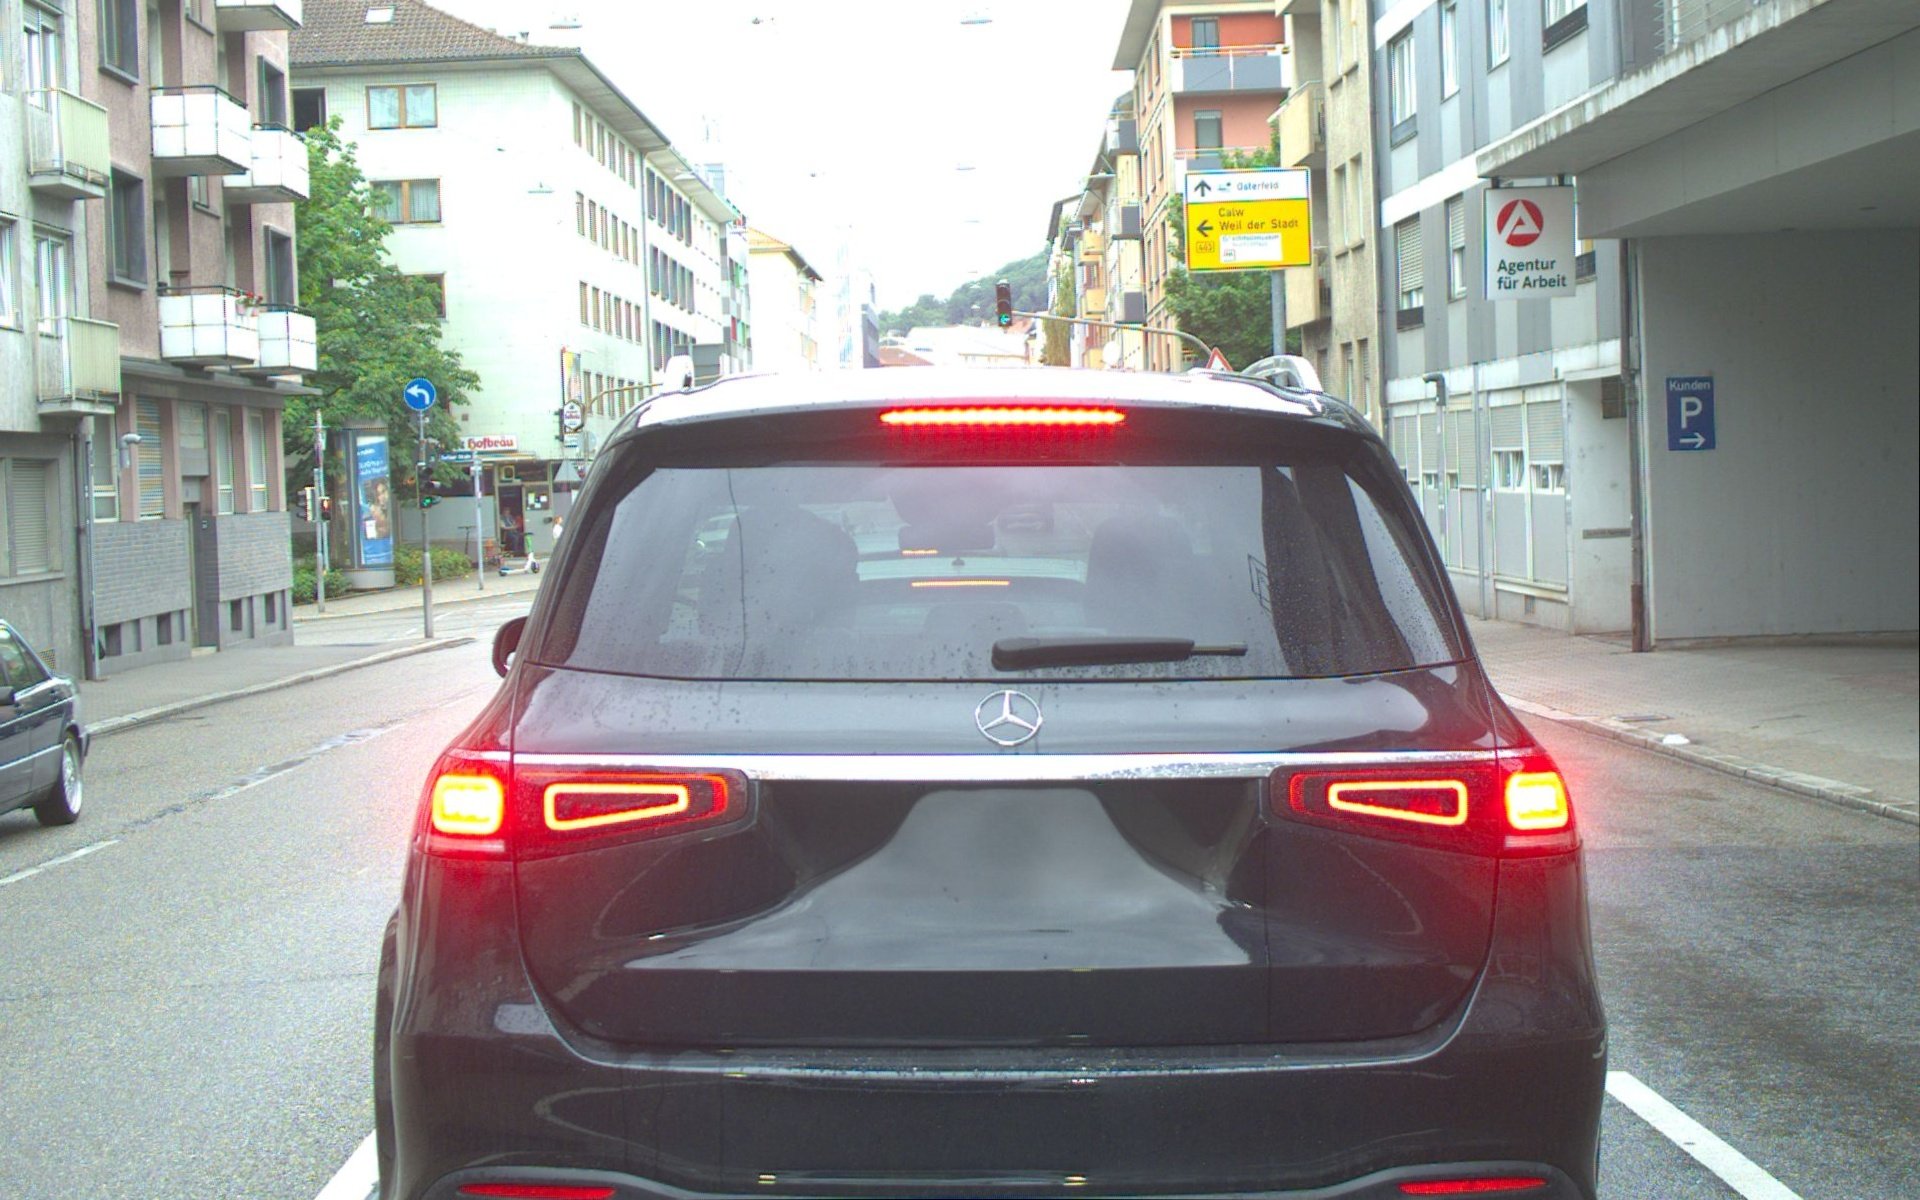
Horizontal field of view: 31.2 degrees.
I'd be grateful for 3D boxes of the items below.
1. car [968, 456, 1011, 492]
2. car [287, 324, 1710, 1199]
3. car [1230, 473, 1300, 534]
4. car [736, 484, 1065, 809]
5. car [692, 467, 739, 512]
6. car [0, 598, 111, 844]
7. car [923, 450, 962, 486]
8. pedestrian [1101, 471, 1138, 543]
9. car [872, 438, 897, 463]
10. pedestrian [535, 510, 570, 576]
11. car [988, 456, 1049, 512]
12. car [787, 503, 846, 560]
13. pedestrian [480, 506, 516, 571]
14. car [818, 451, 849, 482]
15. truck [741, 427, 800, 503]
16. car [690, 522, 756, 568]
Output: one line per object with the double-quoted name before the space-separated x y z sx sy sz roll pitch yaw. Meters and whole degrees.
"car" 1.302 -5.658 154.556 1.618 1.382 4.218 -3 1 -3
"car" 0.026 0.504 7.030 1.985 1.799 4.390 1 1 -1
"car" 8.370 -2.641 94.611 1.671 1.583 3.330 -2 1 2
"car" -0.425 0.234 20.843 1.751 1.725 4.218 -1 1 -3
"car" -9.327 -4.205 131.597 1.618 1.534 4.218 -3 1 -3
"car" -6.357 0.764 20.349 1.598 1.365 4.363 -4 1 -2
"car" -0.865 -6.376 166.303 1.618 1.534 4.218 -3 1 -3
"pedestrian" 4.564 -2.669 98.561 0.923 2.007 0.706 -2 1 -2
"car" -5.483 -10.877 250.157 1.618 1.534 4.218 -3 1 -3
"pedestrian" -11.158 -1.559 94.132 0.636 1.758 0.773 -2 1 13
"car" 1.992 -3.976 118.454 1.723 1.754 4.218 -3 1 -3
"car" -4.236 -1.991 101.229 1.618 1.534 4.218 -3 1 -3
"pedestrian" -13.674 -1.825 101.763 0.923 1.895 0.706 -2 1 -2
"car" -7.155 -7.495 193.642 1.618 1.534 4.218 -3 1 -3
"truck" -8.622 -6.101 157.014 2.479 3.035 9.921 -3 1 -3
"car" -7.253 -1.677 105.485 1.885 1.260 4.218 -3 1 -3
